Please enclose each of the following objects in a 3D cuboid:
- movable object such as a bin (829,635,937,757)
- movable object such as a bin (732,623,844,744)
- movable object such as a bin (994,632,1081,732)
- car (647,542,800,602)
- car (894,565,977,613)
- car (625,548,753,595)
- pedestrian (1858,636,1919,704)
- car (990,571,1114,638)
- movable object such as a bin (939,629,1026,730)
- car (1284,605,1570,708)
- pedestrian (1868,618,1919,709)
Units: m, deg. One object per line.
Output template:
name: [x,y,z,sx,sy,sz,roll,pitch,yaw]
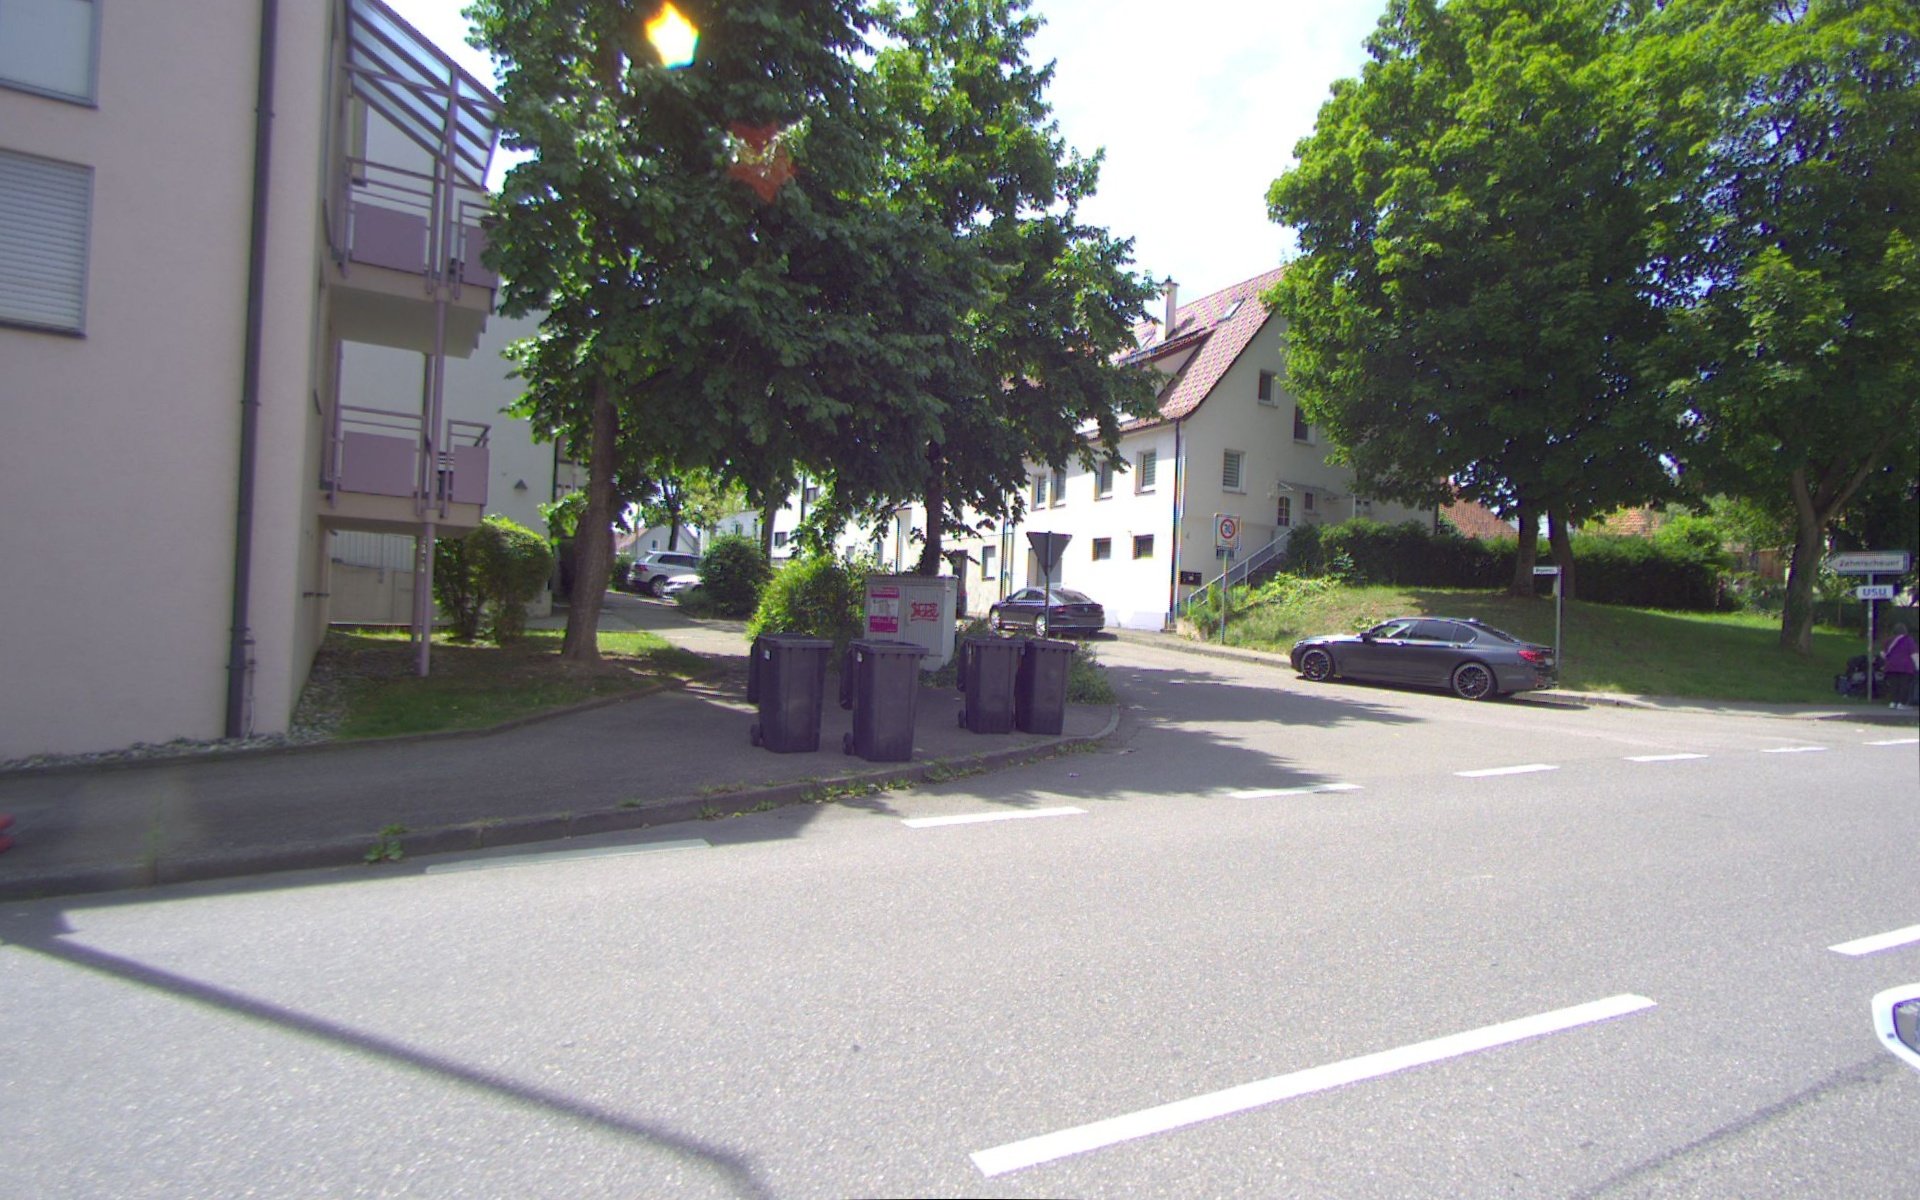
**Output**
movable object such as a bin: [-0.708,0.842,9.117,0.685,1.013,0.848,2,0,-27]
movable object such as a bin: [-1.606,0.753,9.320,0.794,1.014,0.797,2,1,-27]
movable object such as a bin: [0.870,0.918,11.387,0.601,1.013,0.769,4,2,-26]
car: [-7.078,-0.806,30.113,4.097,1.588,1.985,1,0,-29]
car: [-1.016,-0.463,39.338,1.750,1.669,3.973,1,3,-26]
car: [-9.540,-0.963,35.375,4.065,1.437,1.986,2,0,-27]
pedestrian: [18.876,1.396,20.044,0.638,1.286,1.232,2,1,-25]
car: [2.669,0.083,30.058,1.883,1.706,3.974,2,3,-25]
movable object such as a bin: [0.239,0.876,11.153,0.601,1.013,0.768,4,2,-27]
car: [9.178,1.027,19.994,4.722,1.499,1.989,5,2,43]
pedestrian: [17.566,1.177,18.851,0.722,1.638,0.626,2,0,41]
